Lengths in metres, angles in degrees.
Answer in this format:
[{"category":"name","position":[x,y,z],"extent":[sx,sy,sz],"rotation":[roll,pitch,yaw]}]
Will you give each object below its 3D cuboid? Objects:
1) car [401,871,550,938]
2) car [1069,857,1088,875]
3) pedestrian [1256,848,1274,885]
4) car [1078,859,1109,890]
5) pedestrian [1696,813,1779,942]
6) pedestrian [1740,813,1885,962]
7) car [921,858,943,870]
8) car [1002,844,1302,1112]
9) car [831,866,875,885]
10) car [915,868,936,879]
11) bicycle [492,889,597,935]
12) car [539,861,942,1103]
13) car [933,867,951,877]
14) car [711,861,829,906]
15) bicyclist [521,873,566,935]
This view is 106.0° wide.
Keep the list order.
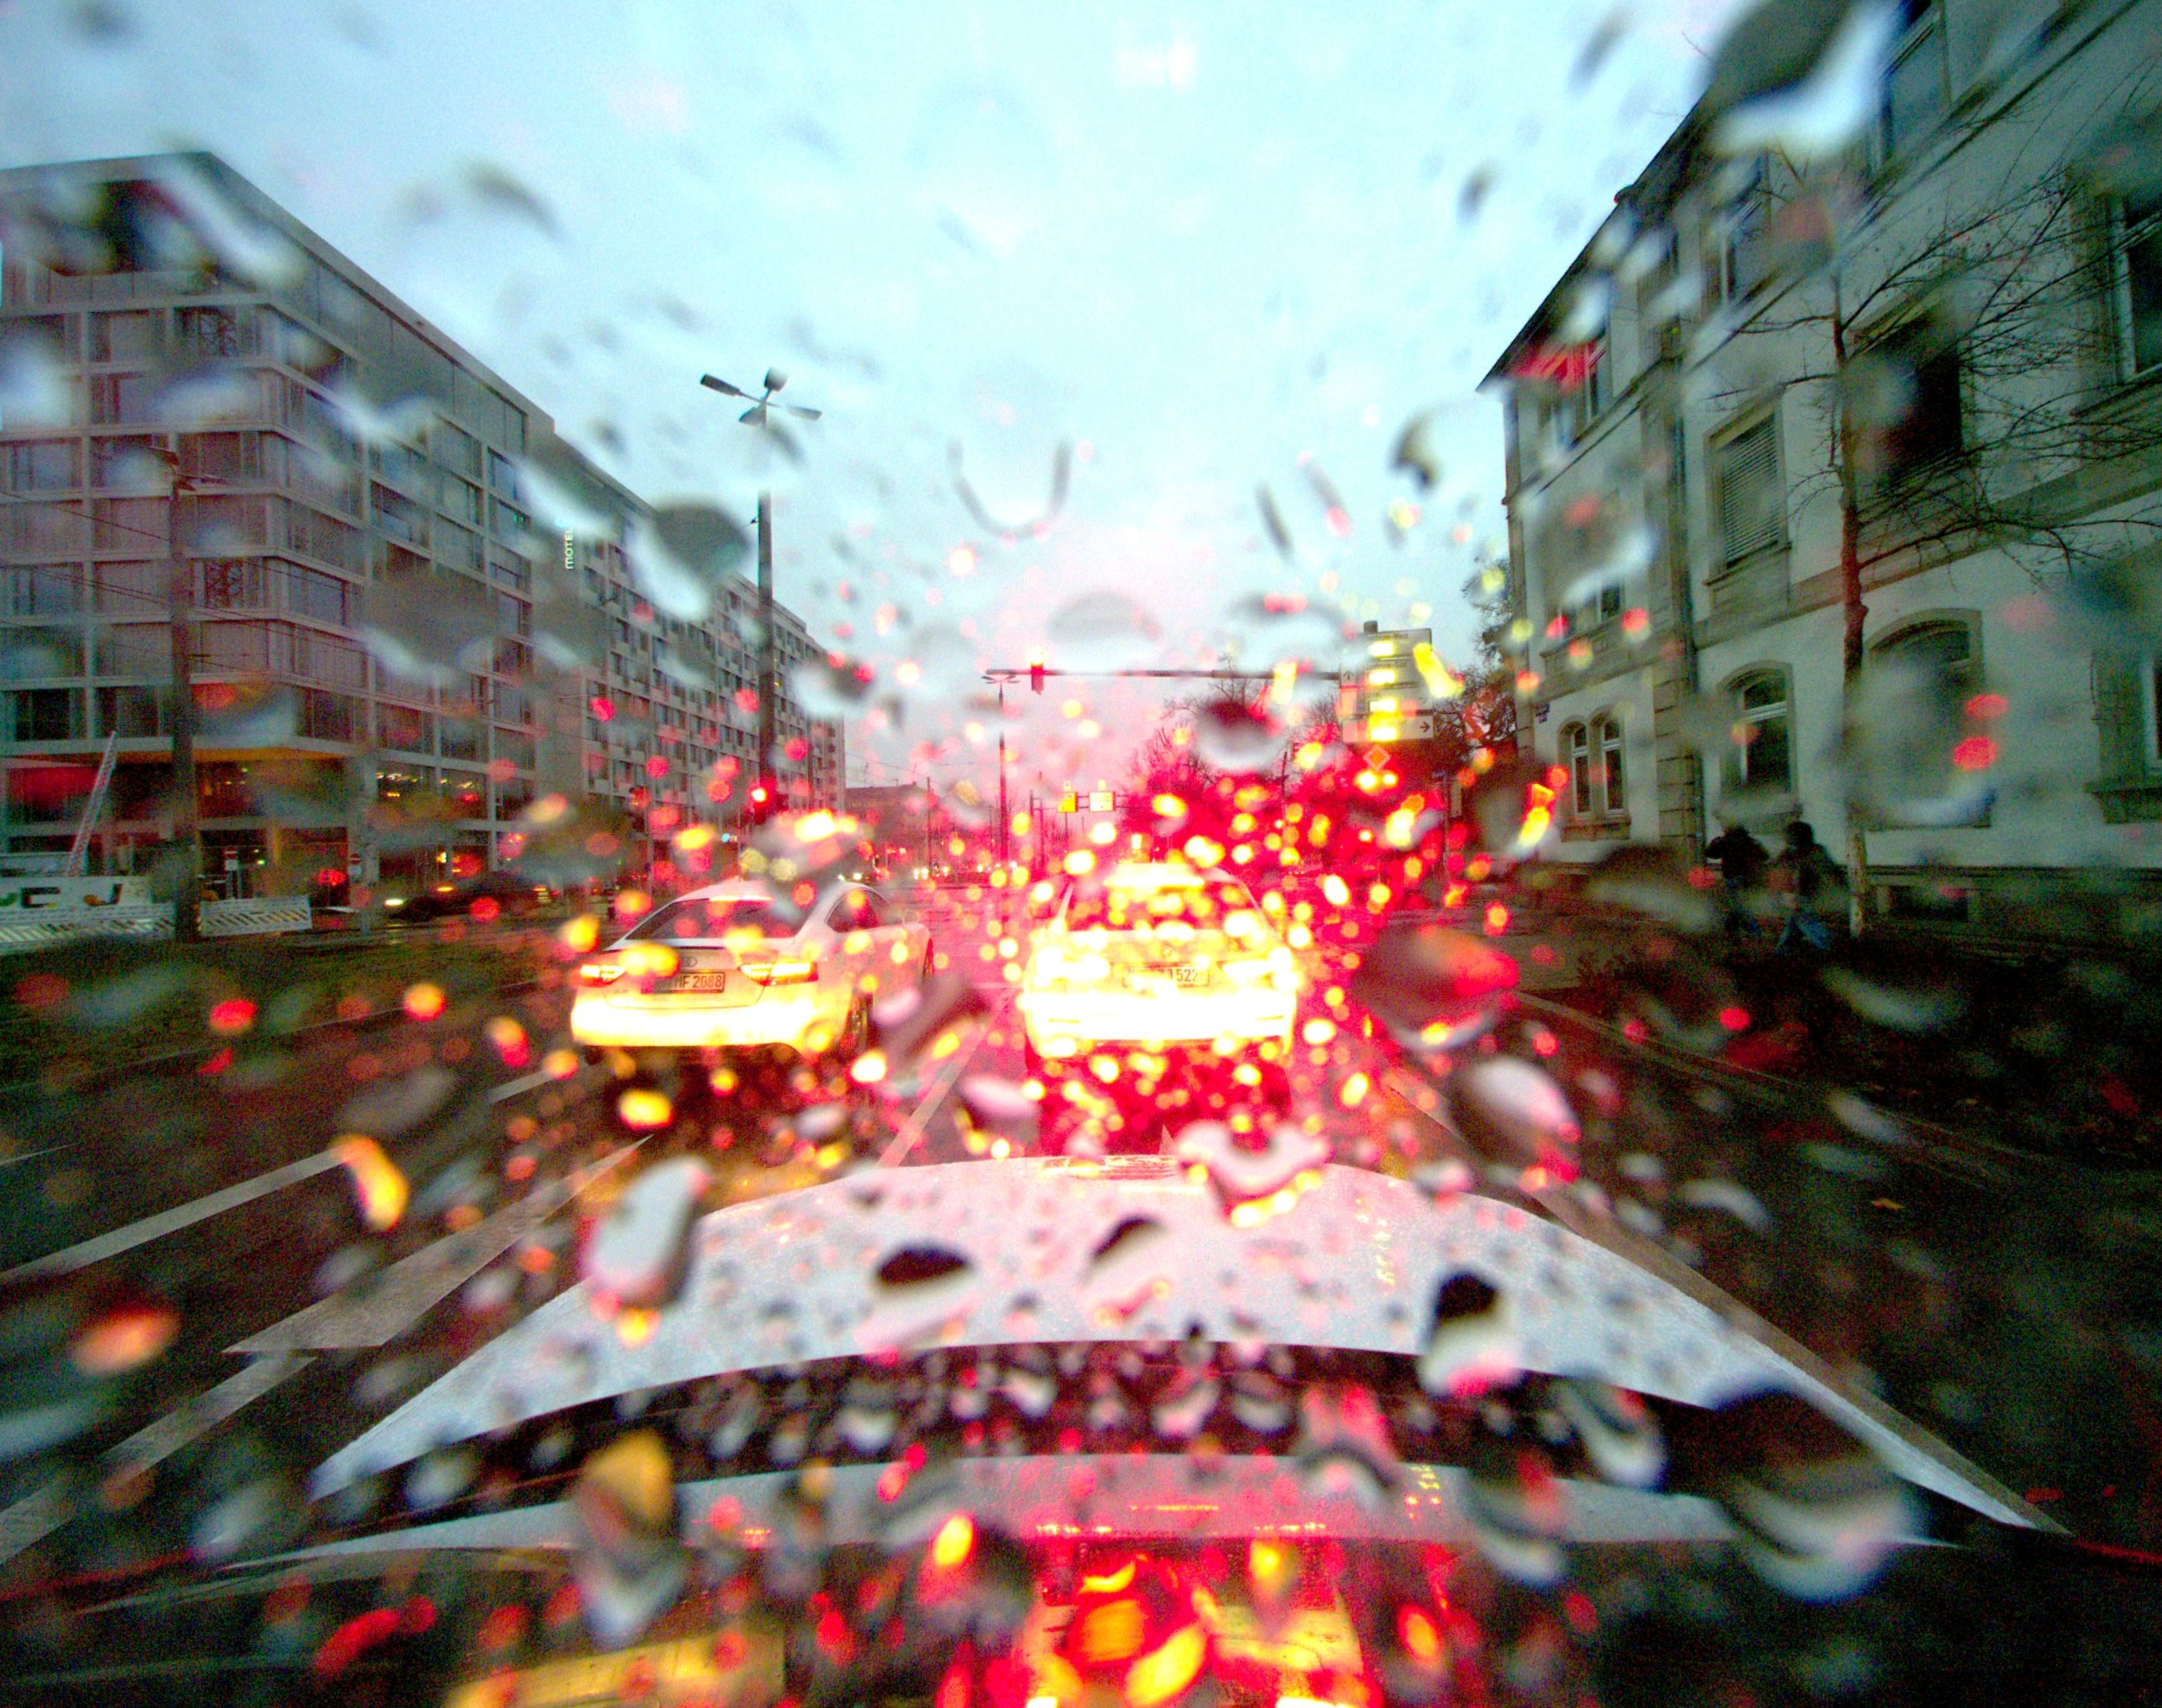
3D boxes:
[{"category":"car","position":[-21.147,1.702,28.608],"extent":[4.102,2.123,1.937],"rotation":[0,-1,-37]},{"category":"car","position":[-0.255,1.342,91.573],"extent":[1.986,2.014,4.001],"rotation":[0,-1,2]},{"category":"pedestrian","position":[9.235,0.626,40.894],"extent":[0.712,1.879,0.673],"rotation":[0,-1,-9]},{"category":"car","position":[0.864,1.350,55.189],"extent":[1.986,2.014,4.001],"rotation":[0,-1,2]},{"category":"pedestrian","position":[8.843,0.303,11.008],"extent":[0.774,1.632,1.017],"rotation":[-1,-1,35]},{"category":"pedestrian","position":[8.226,0.364,9.211],"extent":[0.777,1.579,1.014],"rotation":[0,-1,9]},{"category":"car","position":[-18.458,1.228,100.877],"extent":[1.988,1.462,5.090],"rotation":[0,-1,-2]},{"category":"car","position":[0.413,0.743,6.916],"extent":[1.754,1.552,4.250],"rotation":[0,-1,0]},{"category":"car","position":[-18.485,1.738,66.223],"extent":[1.986,1.462,5.097],"rotation":[0,-1,2]},{"category":"car","position":[-22.253,2.785,116.469],"extent":[1.987,1.462,5.094],"rotation":[0,-1,0]},{"category":"bicycle","position":[-24.919,2.690,37.917],"extent":[3.981,2.014,1.191],"rotation":[0,-1,-6]},{"category":"car","position":[-2.463,0.806,7.157],"extent":[1.754,1.470,4.250],"rotation":[0,-1,0]},{"category":"car","position":[-21.968,2.890,129.237],"extent":[1.987,1.462,5.094],"rotation":[0,-1,0]},{"category":"car","position":[-12.390,1.152,32.679],"extent":[4.068,1.687,1.953],"rotation":[0,-1,-8]},{"category":"bicyclist","position":[-24.992,2.295,37.904],"extent":[1.346,2.828,1.191],"rotation":[0,-1,-5]}]
